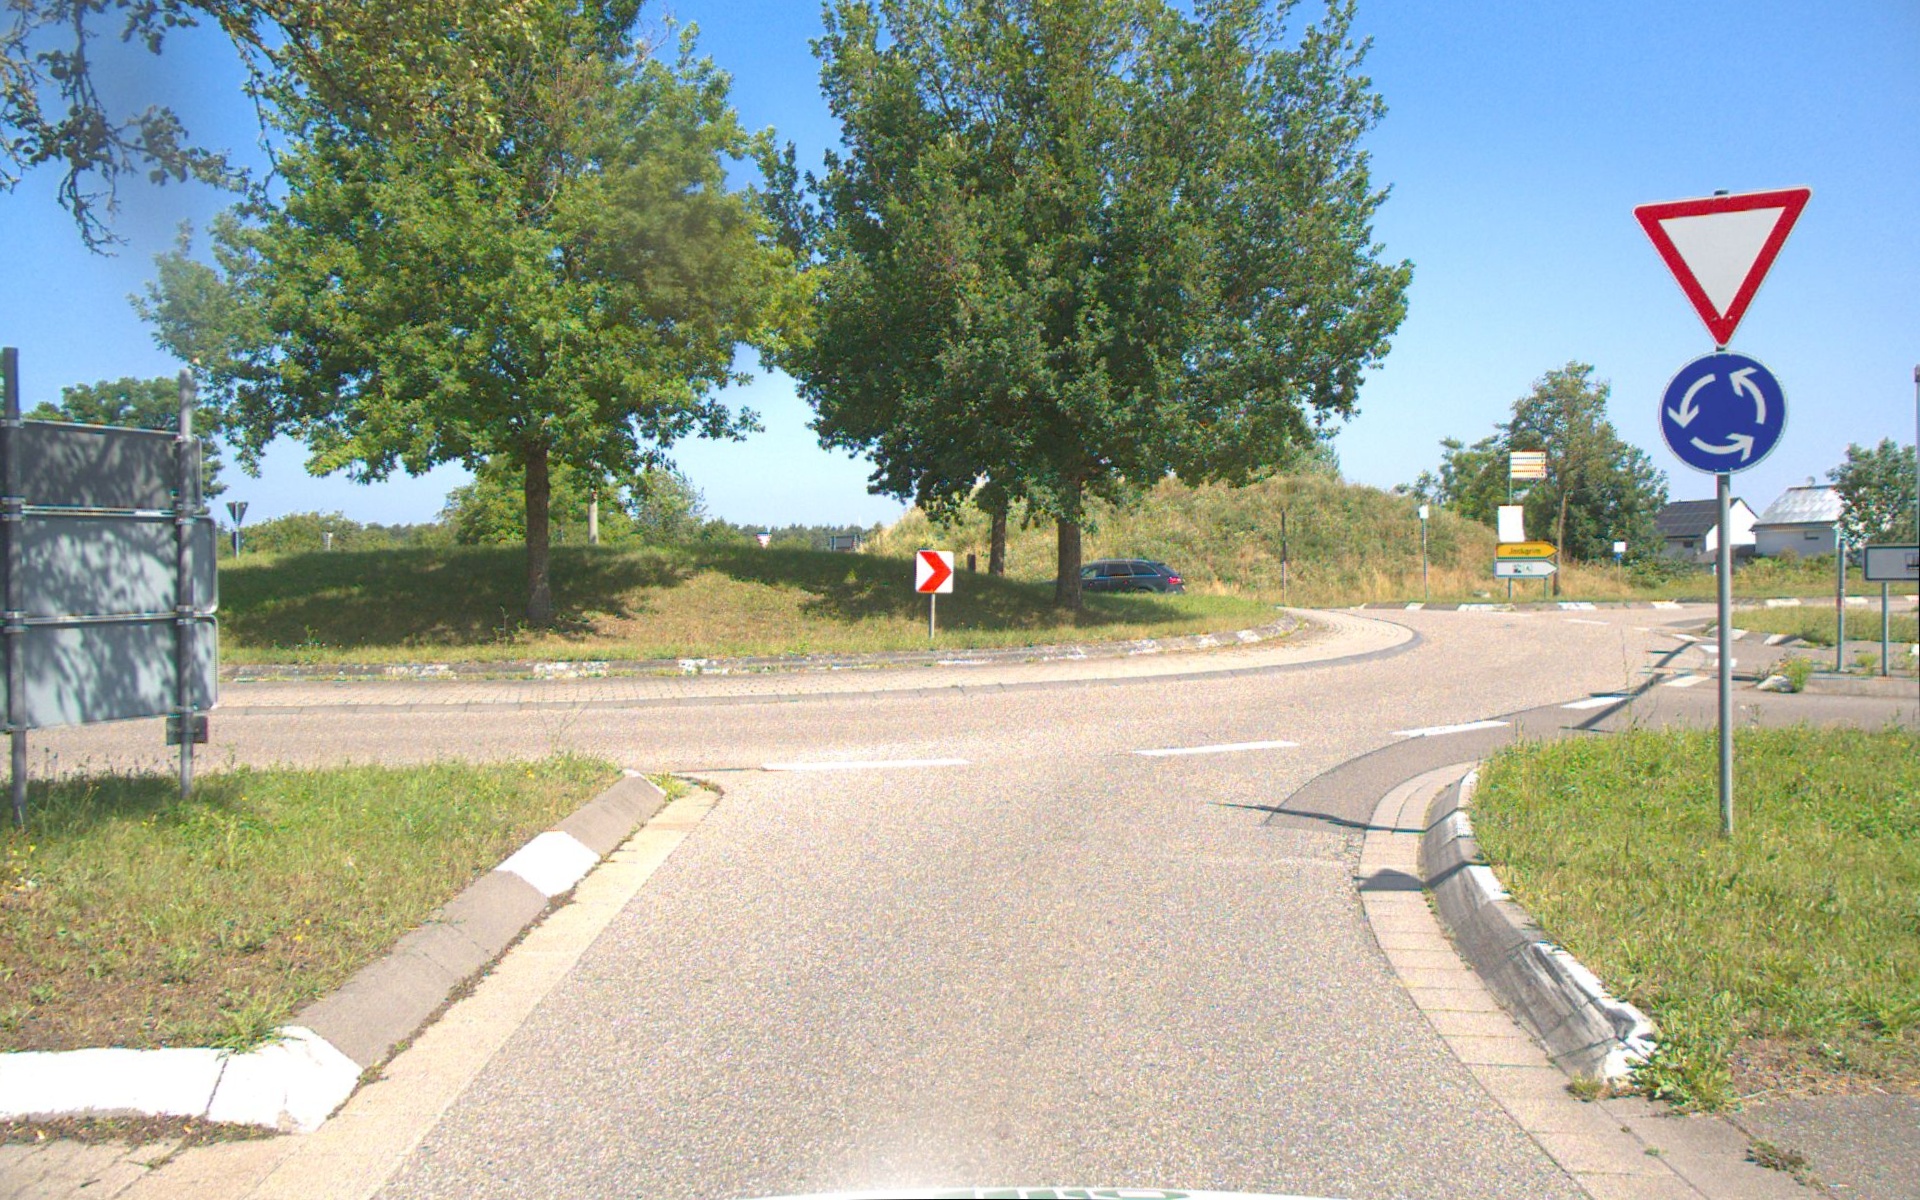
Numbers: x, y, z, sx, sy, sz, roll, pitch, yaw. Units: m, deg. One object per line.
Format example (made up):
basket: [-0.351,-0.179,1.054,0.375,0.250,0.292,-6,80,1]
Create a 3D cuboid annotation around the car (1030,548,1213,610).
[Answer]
car: [4.396,-0.567,44.909,4.658,1.620,2.001,0,1,17]
